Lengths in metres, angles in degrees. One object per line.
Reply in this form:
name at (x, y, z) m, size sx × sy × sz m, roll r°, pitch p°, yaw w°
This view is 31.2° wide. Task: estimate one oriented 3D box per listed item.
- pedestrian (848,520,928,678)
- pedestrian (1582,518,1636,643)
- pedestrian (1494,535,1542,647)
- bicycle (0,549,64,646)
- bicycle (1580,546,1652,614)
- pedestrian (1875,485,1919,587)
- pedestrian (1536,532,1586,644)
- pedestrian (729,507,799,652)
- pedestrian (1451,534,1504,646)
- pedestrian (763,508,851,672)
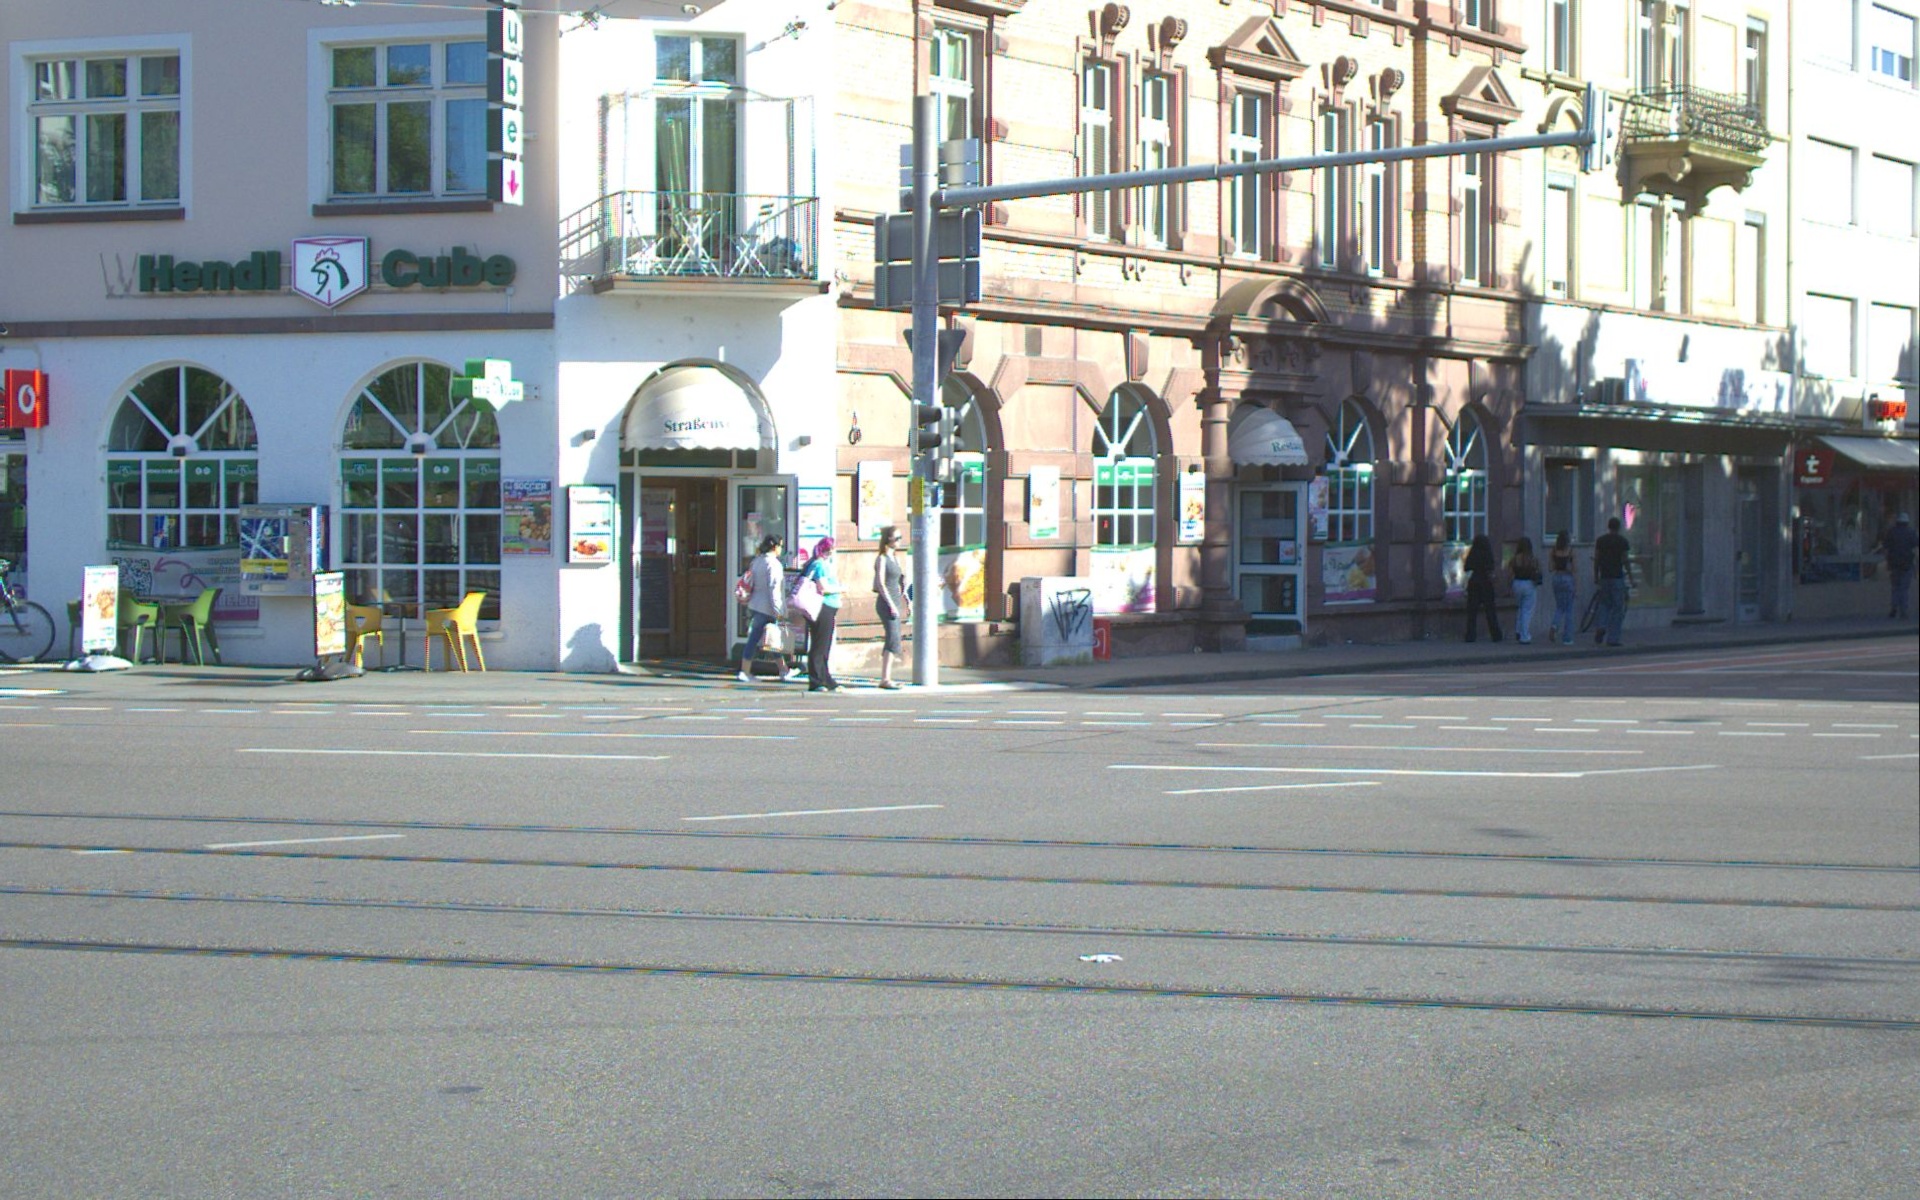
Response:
pedestrian at (-0.754, -0.019, 36.077) m, size 0.632 × 1.636 × 0.551 m, roll 1°, pitch 2°, yaw 31°
pedestrian at (9.616, -0.295, 50.943) m, size 0.581 × 1.830 × 0.632 m, roll 1°, pitch 2°, yaw 34°
pedestrian at (8.215, -0.140, 50.605) m, size 0.551 × 1.636 × 0.537 m, roll 1°, pitch 2°, yaw 29°
bicycle at (-11.108, -0.033, 38.646) m, size 1.944 × 1.063 × 0.583 m, roll 0°, pitch 2°, yaw 11°
bicycle at (10.647, -0.331, 55.789) m, size 0.496 × 1.063 × 1.766 m, roll 1°, pitch 2°, yaw 34°
pedestrian at (17.541, -1.201, 64.241) m, size 0.683 × 1.902 × 0.632 m, roll 1°, pitch 2°, yaw 34°
pedestrian at (8.882, -0.187, 50.810) m, size 0.551 × 1.636 × 0.632 m, roll 1°, pitch 2°, yaw 29°
pedestrian at (-2.087, -0.223, 36.562) m, size 0.657 × 1.519 × 0.695 m, roll 0°, pitch 2°, yaw -9°
pedestrian at (7.647, -0.156, 50.817) m, size 0.628 × 1.636 × 0.537 m, roll 1°, pitch 2°, yaw 30°
pedestrian at (-1.542, -0.110, 34.782) m, size 0.676 × 1.636 × 0.577 m, roll 1°, pitch 2°, yaw 31°
